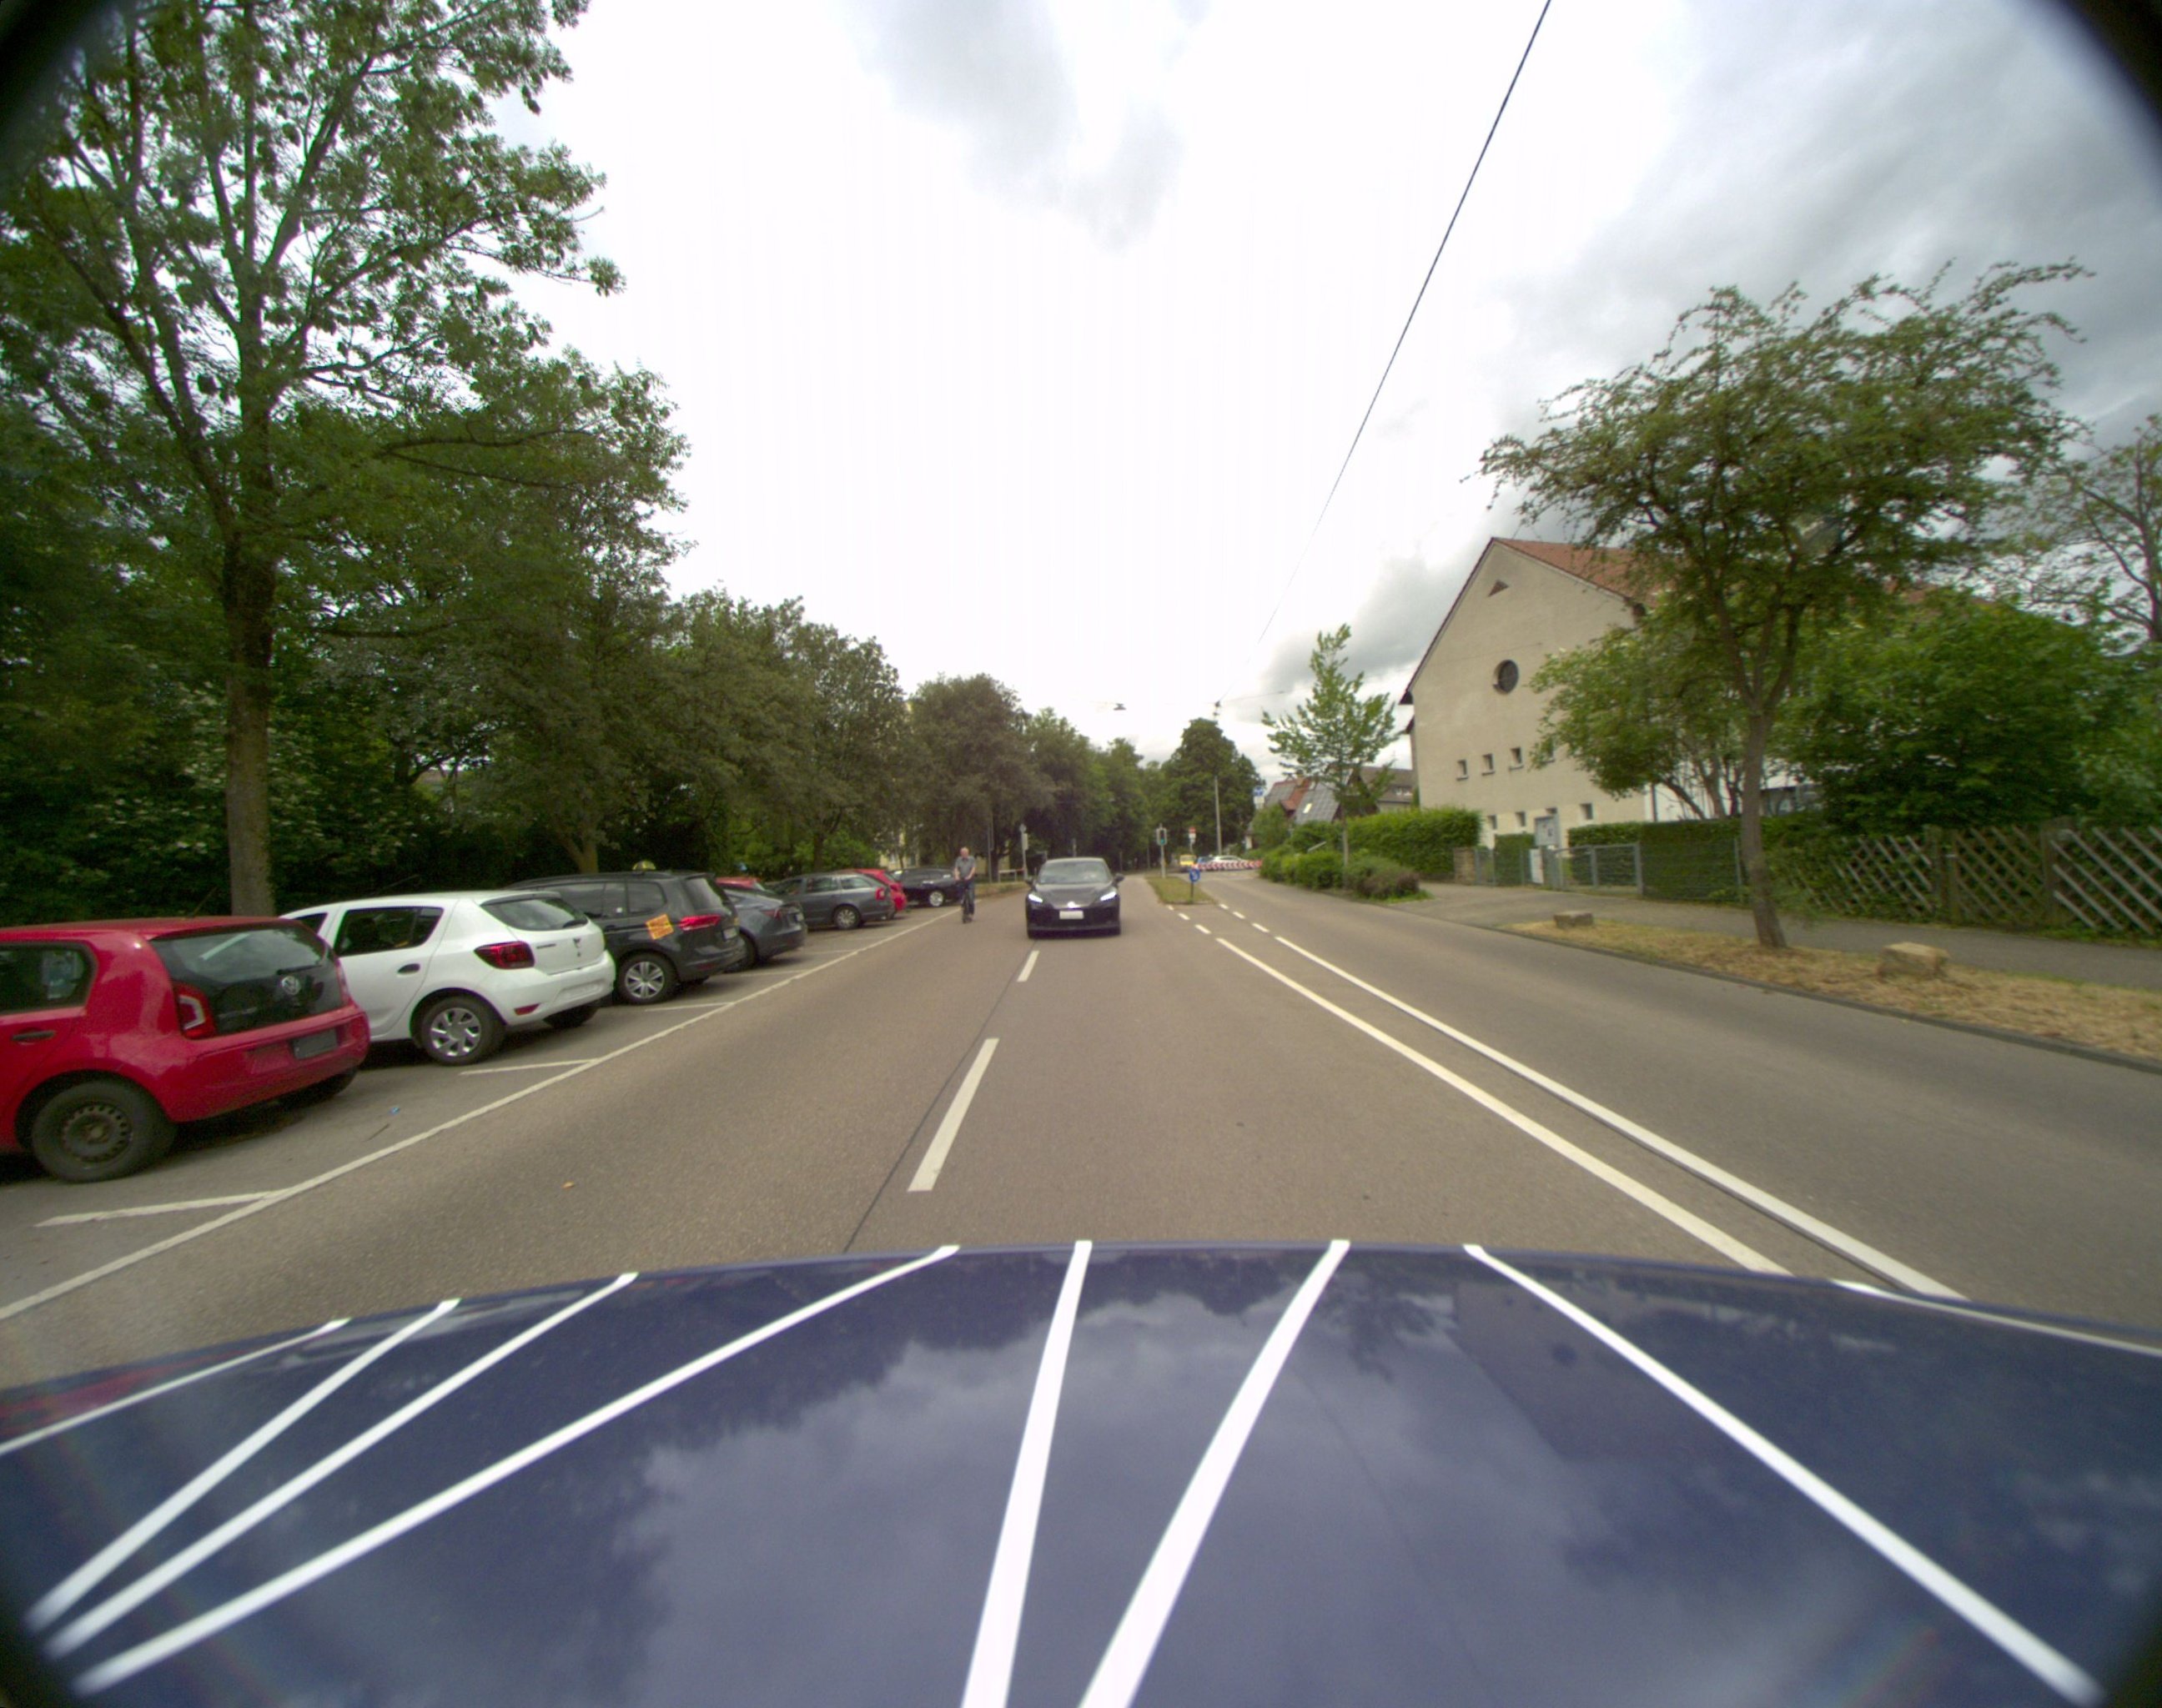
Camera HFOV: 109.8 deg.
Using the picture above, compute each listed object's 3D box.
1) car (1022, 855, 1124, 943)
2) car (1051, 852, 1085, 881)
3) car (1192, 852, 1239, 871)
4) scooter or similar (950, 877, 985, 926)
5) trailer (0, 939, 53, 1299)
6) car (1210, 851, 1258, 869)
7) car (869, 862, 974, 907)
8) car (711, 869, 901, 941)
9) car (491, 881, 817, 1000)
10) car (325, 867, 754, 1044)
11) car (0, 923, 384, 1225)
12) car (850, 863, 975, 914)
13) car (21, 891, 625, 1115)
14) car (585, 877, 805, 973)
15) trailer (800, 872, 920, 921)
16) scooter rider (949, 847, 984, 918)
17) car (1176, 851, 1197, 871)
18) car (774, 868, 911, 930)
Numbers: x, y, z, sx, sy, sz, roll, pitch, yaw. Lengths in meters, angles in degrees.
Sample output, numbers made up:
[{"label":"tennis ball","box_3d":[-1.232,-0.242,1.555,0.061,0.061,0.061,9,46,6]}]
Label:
[{"label":"car","box_3d":[-0.031,0.830,16.071,1.803,1.541,4.299,-3,0,3]},{"label":"car","box_3d":[-0.710,0.673,44.621,1.814,1.520,4.000,-3,1,1]},{"label":"car","box_3d":[12.822,0.730,72.692,4.175,1.537,1.846,-3,-2,0]},{"label":"scooter or similar","box_3d":[-2.877,1.195,19.369,0.683,1.132,1.459,-3,0,-4]},{"label":"trailer","box_3d":[-6.385,1.259,2.295,3.701,1.526,1.644,-4,0,-10]},{"label":"car","box_3d":[14.110,0.583,70.372,3.904,1.463,1.845,-2,-2,-7]},{"label":"car","box_3d":[-6.184,1.172,29.806,3.725,1.467,1.576,-4,0,-1]},{"label":"car","box_3d":[-6.894,1.255,19.434,4.233,1.455,1.634,-3,0,-8]},{"label":"car","box_3d":[-6.625,1.304,12.245,4.173,1.398,1.696,-3,1,-10]},{"label":"car","box_3d":[-6.536,1.150,9.647,3.999,1.715,1.679,-3,1,-10]},{"label":"car","box_3d":[-6.884,1.336,4.671,3.436,1.437,1.558,-3,1,-11]},{"label":"car","box_3d":[-5.971,1.205,27.158,4.149,1.467,1.575,-4,1,-11]},{"label":"car","box_3d":[-6.740,1.262,7.123,3.831,1.520,1.605,-3,1,-3]},{"label":"car","box_3d":[-7.287,1.300,14.649,3.337,1.455,1.633,-3,1,-9]},{"label":"trailer","box_3d":[-7.003,1.343,24.368,3.413,1.259,1.615,-3,1,-8]},{"label":"scooter rider","box_3d":[-2.900,0.706,19.277,0.683,1.720,1.196,-3,0,-4]},{"label":"car","box_3d":[11.142,0.769,80.695,1.920,1.977,4.802,-3,-1,5]},{"label":"car","box_3d":[-6.751,1.248,21.840,3.535,1.467,1.591,-3,0,-11]}]
